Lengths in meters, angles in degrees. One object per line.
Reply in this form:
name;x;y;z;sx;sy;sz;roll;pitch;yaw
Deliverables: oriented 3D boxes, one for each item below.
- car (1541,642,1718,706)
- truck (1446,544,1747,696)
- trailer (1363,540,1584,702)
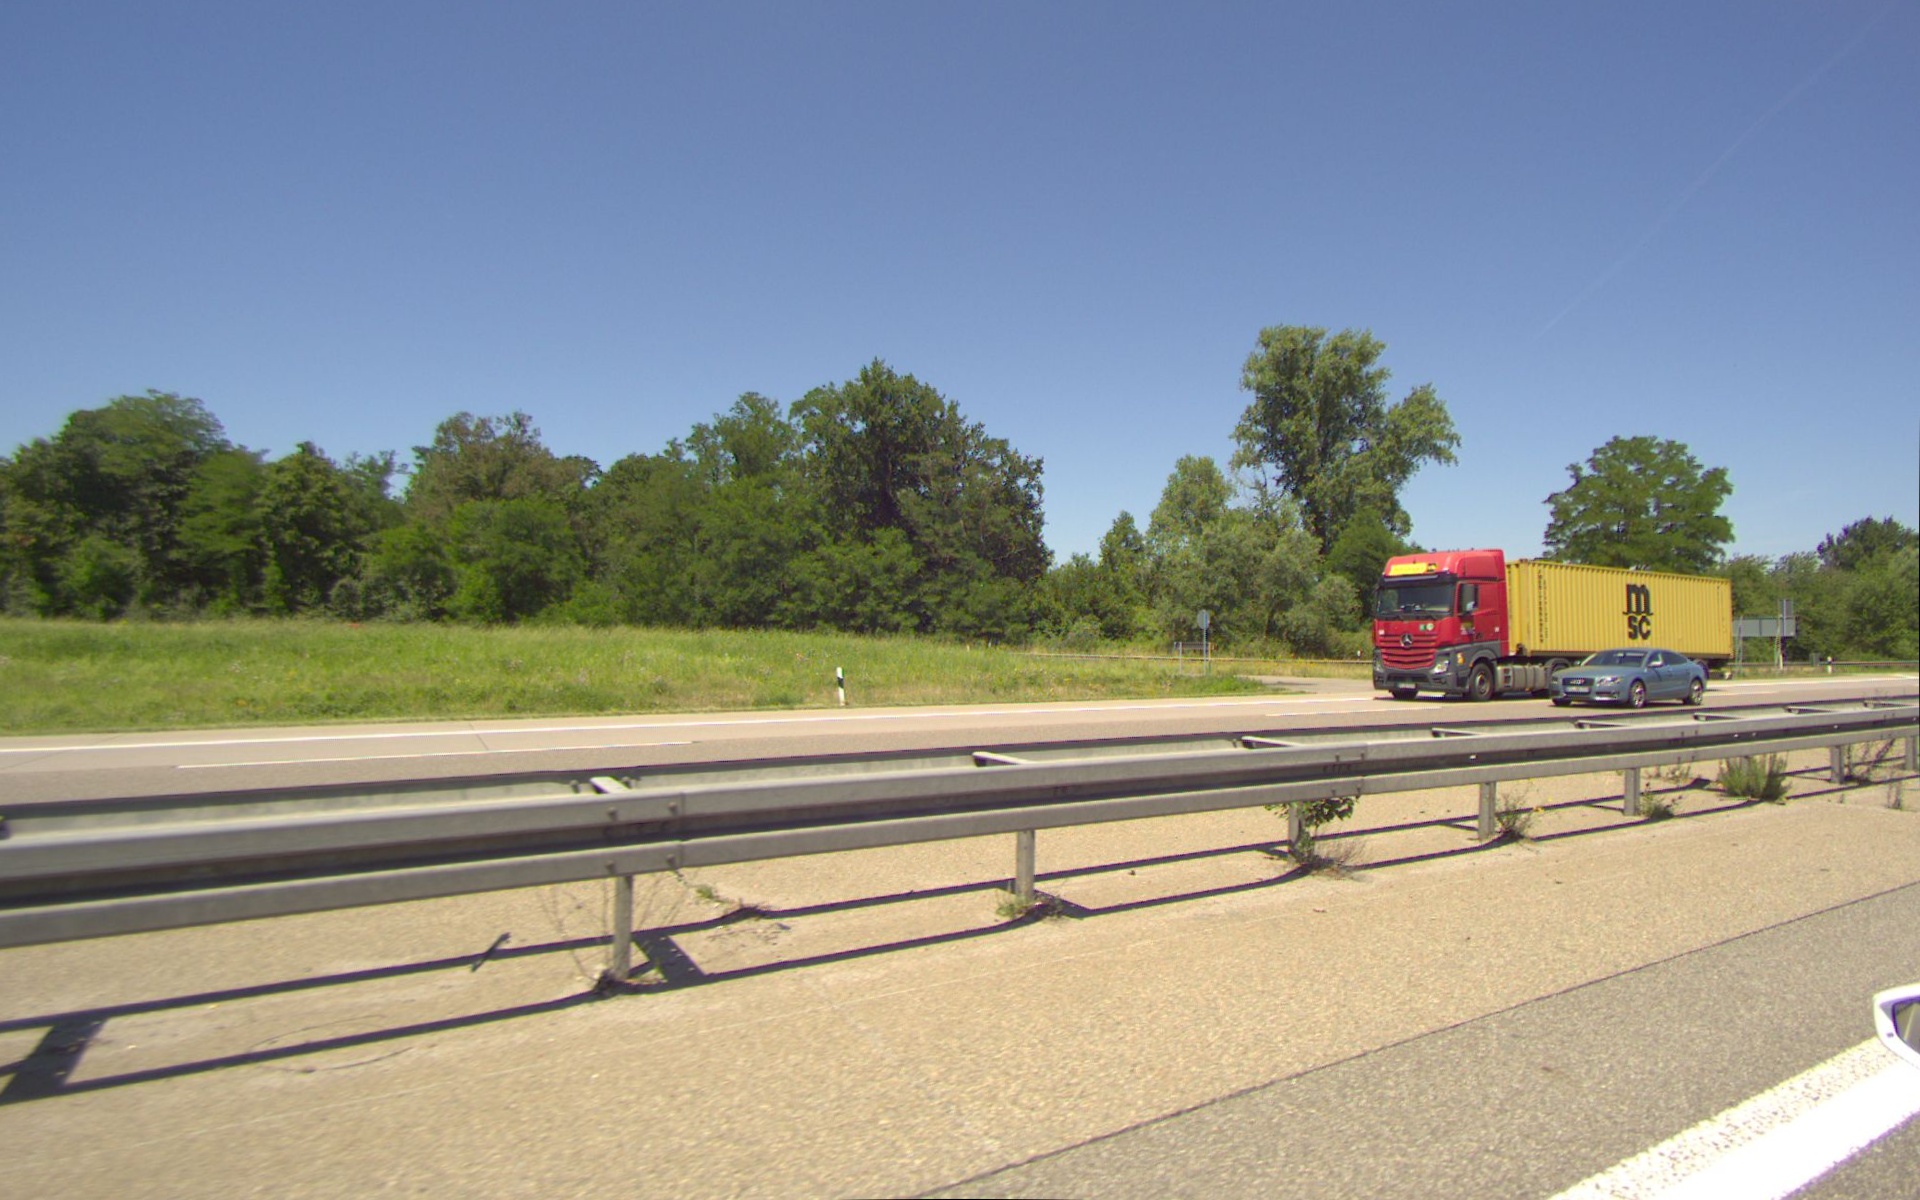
car;16.169;1.782;24.186;4.734;1.398;1.712;2;-6;-32
truck;20.194;0.728;31.379;12.546;4.101;2.587;2;-2;-31
trailer;14.240;0.589;27.765;5.958;4.045;2.590;2;0;-30
